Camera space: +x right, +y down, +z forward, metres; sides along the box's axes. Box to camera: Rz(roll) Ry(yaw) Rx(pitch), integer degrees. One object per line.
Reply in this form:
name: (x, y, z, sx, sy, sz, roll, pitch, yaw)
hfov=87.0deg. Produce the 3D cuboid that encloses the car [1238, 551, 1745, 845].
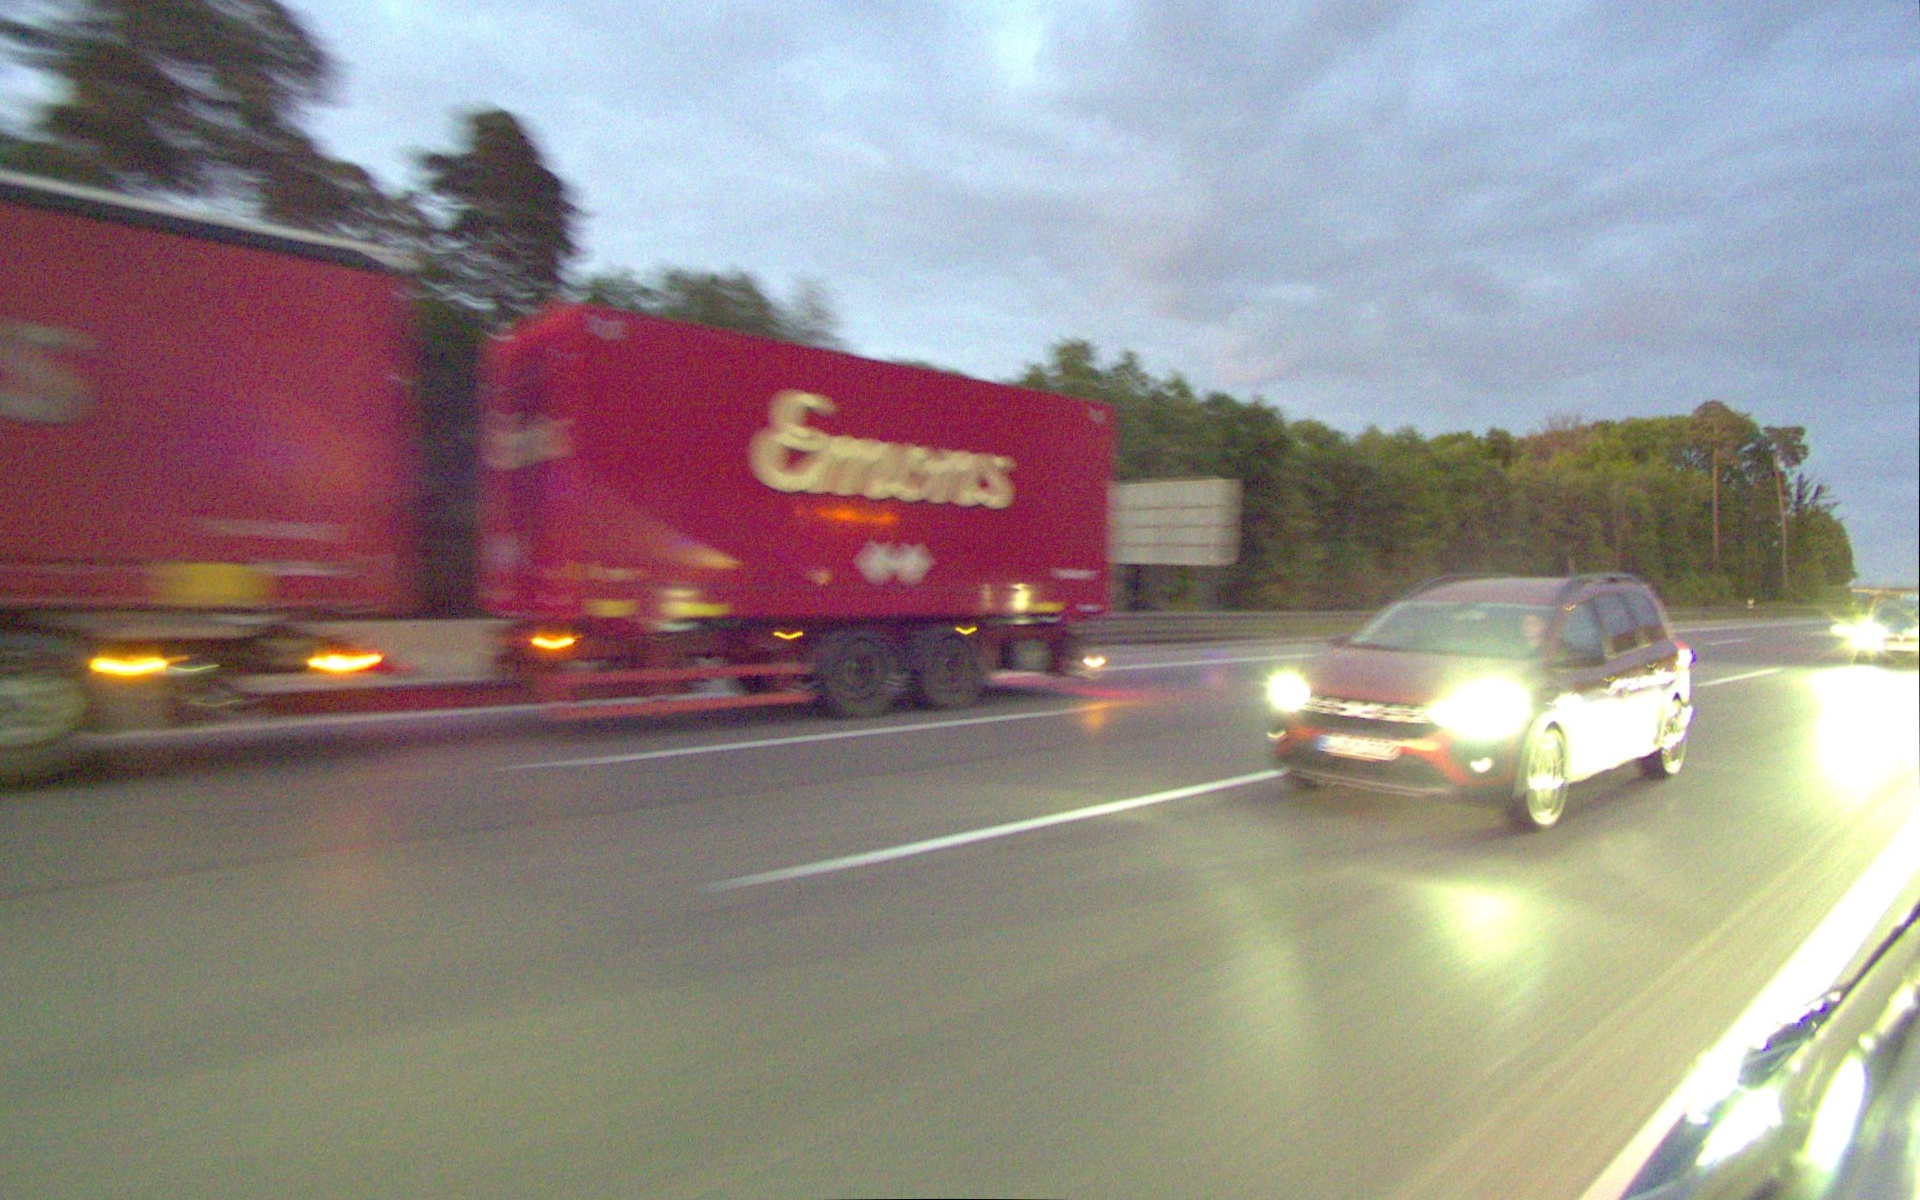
car: (4.475, 0.557, 8.091, 4.964, 1.664, 1.906, 0, -1, -41)

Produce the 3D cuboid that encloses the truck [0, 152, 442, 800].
truck: (-9.155, -0.818, 5.801, 10.641, 4.152, 2.890, 0, 1, -41)

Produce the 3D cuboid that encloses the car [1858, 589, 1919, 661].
car: (23.103, 0.550, 24.071, 5.140, 1.556, 1.913, -1, 2, -41)

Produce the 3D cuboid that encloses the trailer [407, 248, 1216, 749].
trailer: (-1.014, -0.879, 12.843, 10.175, 4.152, 2.913, 0, 1, -41)
